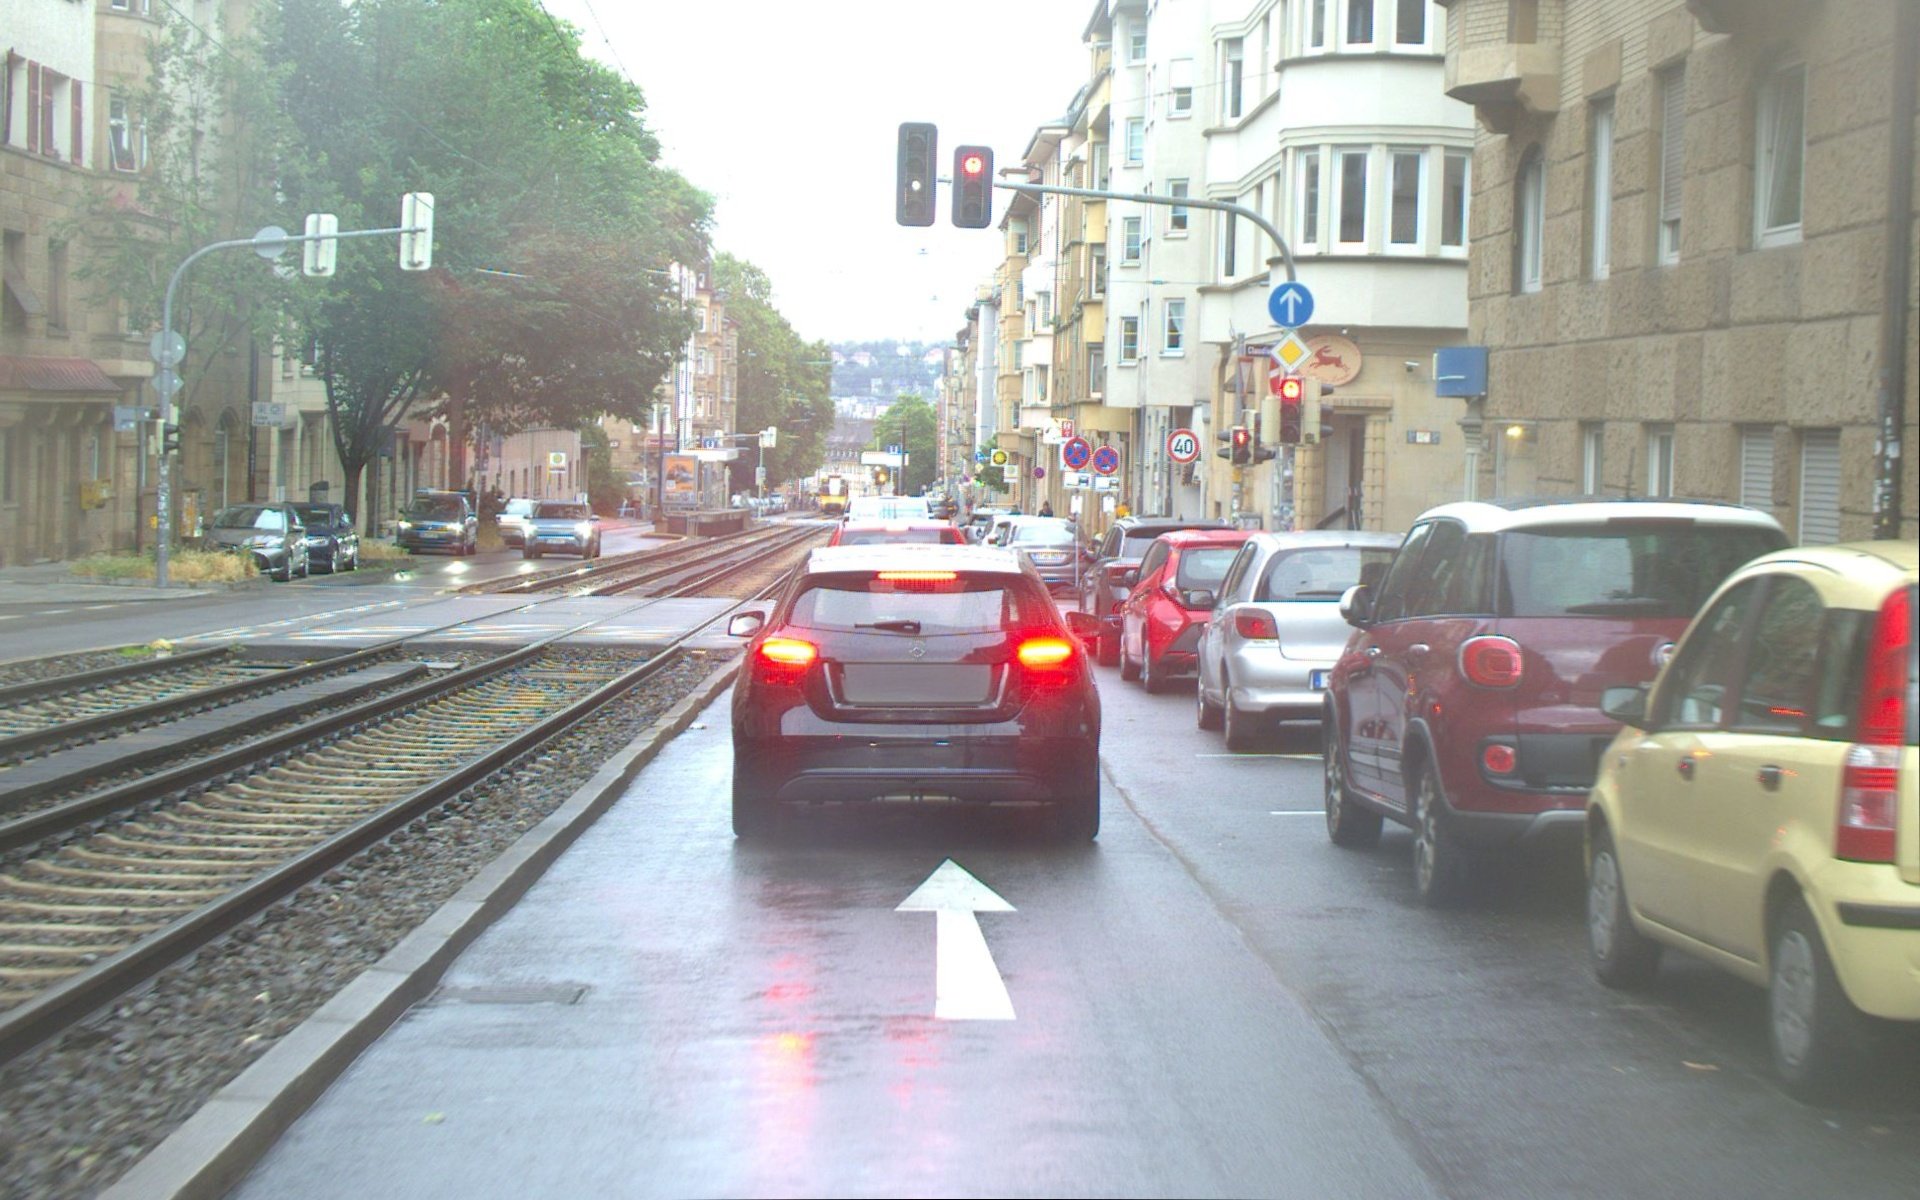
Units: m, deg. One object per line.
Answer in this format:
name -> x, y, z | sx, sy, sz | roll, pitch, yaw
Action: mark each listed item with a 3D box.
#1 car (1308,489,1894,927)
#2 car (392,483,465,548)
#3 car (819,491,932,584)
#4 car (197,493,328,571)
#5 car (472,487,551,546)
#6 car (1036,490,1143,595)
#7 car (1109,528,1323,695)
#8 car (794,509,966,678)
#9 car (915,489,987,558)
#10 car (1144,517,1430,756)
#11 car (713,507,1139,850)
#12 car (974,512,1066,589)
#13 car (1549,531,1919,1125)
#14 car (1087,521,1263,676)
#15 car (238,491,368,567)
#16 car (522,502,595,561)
car -> 2.646, 0.360, 15.107 | 1.710, 1.623, 4.001 | 2, 1, -1
car -> -14.381, -2.284, 93.141 | 1.789, 1.685, 4.001 | 1, 1, -7
car -> -1.629, -1.213, 65.158 | 1.921, 1.649, 4.001 | 1, 2, -4
car -> -13.565, -1.326, 67.081 | 1.771, 1.459, 4.000 | 1, 1, -1
car -> -14.409, -2.697, 110.584 | 1.993, 1.787, 4.000 | 2, 1, -1
car -> 2.547, -1.128, 68.473 | 1.898, 2.021, 4.176 | 0, 0, -1
car -> 2.332, 0.066, 31.915 | 1.602, 1.414, 3.149 | 1, 2, -2
car -> -0.752, -0.116, 33.517 | 1.535, 1.505, 4.000 | 2, 1, -1
car -> -0.256, -2.030, 92.212 | 1.852, 1.791, 3.812 | 0, 0, -1
car -> 2.259, 0.204, 24.506 | 1.638, 1.537, 3.466 | 2, 1, -1
car -> -0.218, 0.336, 17.614 | 1.946, 1.559, 3.643 | 0, 1, -2
car -> 1.382, -1.158, 81.060 | 1.768, 1.769, 4.001 | 0, 0, -5
car -> 2.910, 0.565, 10.438 | 1.559, 1.473, 3.461 | 2, 1, -1
car -> 2.257, -0.061, 36.927 | 1.549, 1.503, 4.000 | 2, 1, -1
car -> -13.804, -1.513, 72.399 | 1.993, 1.512, 4.000 | 1, 1, -1
car -> -10.963, -1.883, 94.067 | 1.795, 1.543, 4.001 | -2, 2, -5
